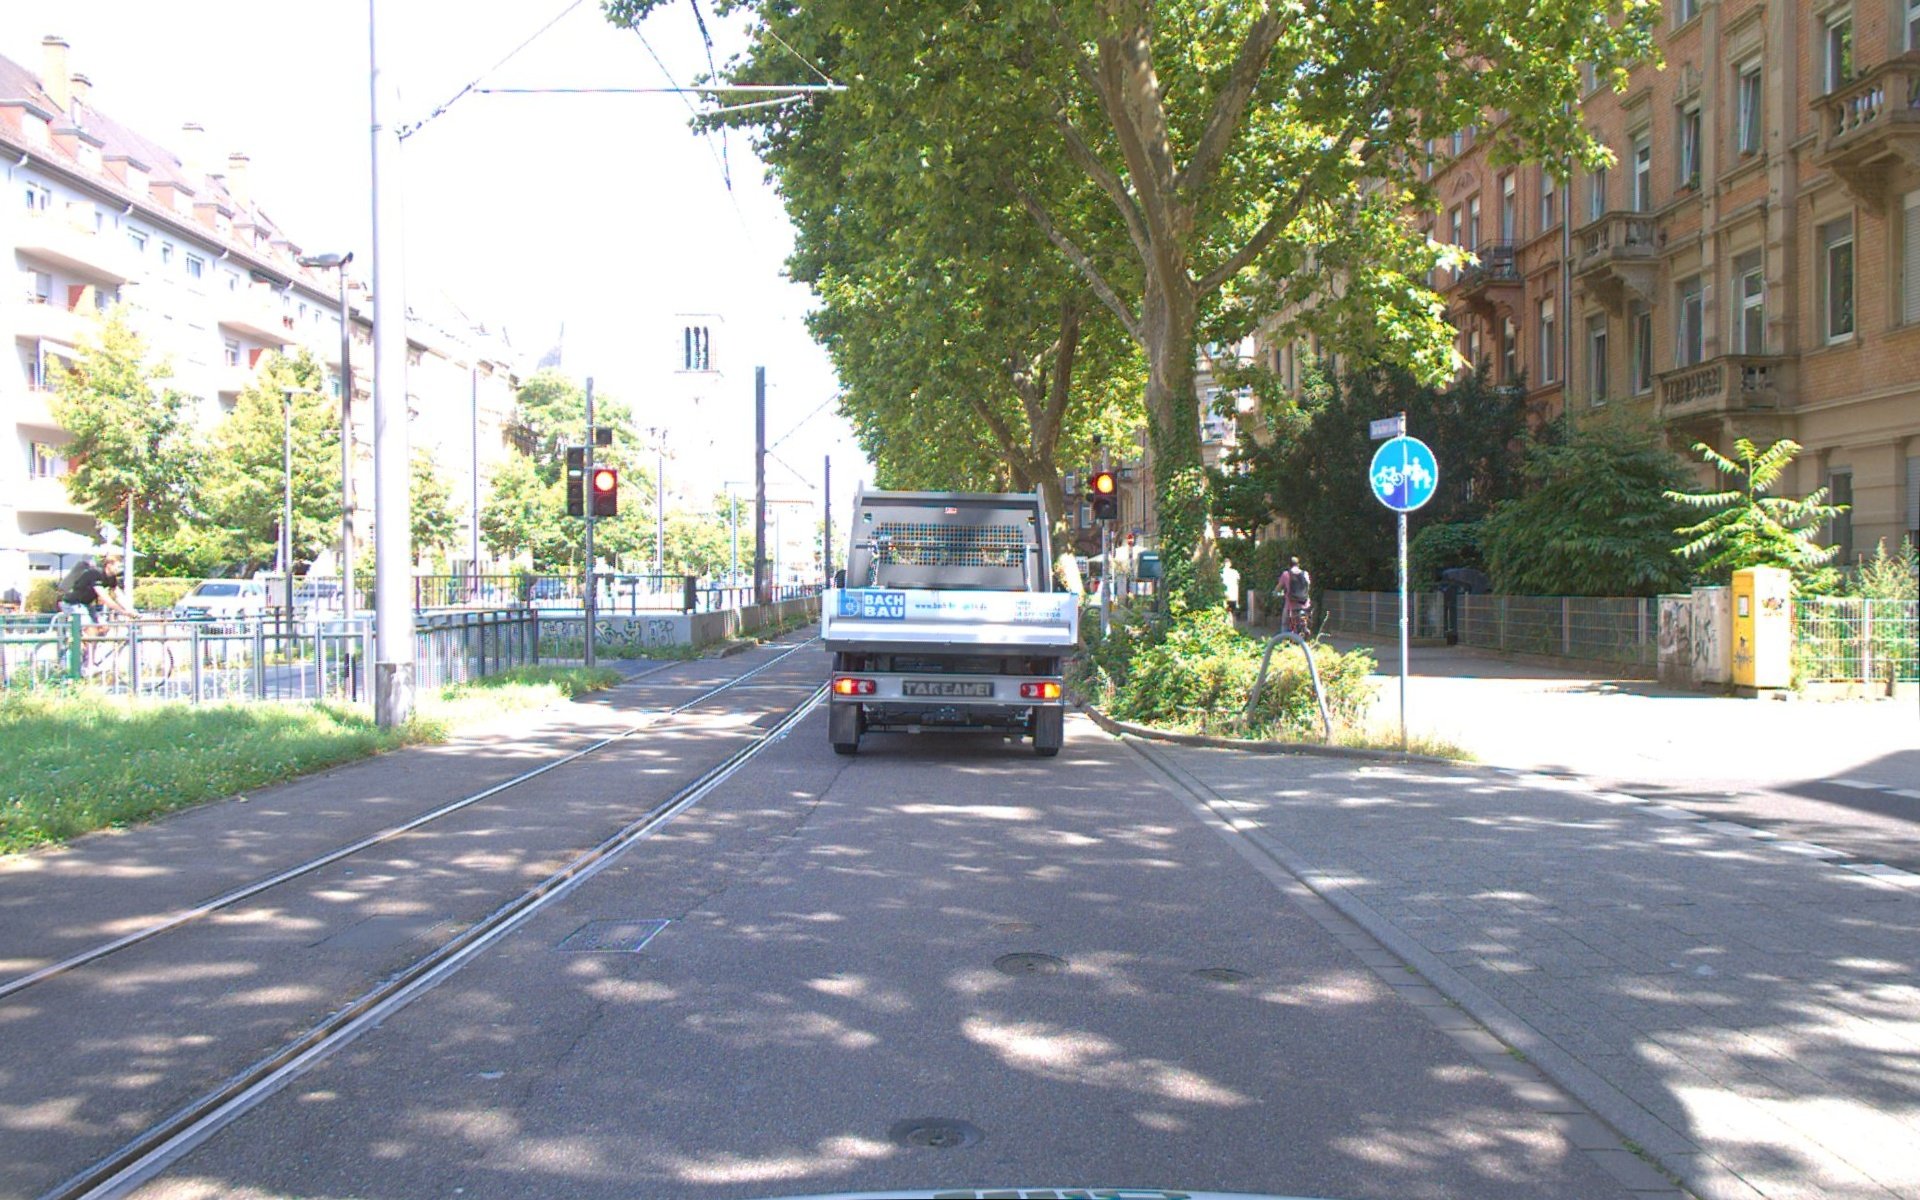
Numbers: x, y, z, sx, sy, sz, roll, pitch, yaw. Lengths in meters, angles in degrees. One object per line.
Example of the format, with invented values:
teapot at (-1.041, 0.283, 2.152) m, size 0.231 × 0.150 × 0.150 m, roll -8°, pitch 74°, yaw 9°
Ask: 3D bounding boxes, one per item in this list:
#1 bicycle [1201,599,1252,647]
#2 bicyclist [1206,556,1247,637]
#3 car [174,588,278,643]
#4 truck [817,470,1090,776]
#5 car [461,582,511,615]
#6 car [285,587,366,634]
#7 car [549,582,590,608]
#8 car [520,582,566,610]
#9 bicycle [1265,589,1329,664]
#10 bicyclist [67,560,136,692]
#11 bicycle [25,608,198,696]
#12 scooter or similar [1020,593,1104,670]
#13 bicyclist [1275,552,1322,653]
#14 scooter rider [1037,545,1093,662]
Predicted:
bicycle at (5.300, 0.438, 32.982) m, size 0.661 × 0.897 × 2.163 m, roll -1°, pitch 1°, yaw 0°
bicyclist at (5.298, -0.075, 32.889) m, size 0.666 × 1.590 × 0.777 m, roll -1°, pitch 0°, yaw 0°
car at (-22.466, 0.444, 50.768) m, size 1.737 × 1.524 × 3.994 m, roll -2°, pitch 1°, yaw -7°
truck at (-0.065, 0.157, 15.238) m, size 2.095 × 2.359 × 4.401 m, roll 1°, pitch 1°, yaw 0°
car at (-23.175, -0.092, 80.973) m, size 1.737 × 1.524 × 3.994 m, roll -1°, pitch 1°, yaw -7°
car at (-22.714, 0.346, 59.343) m, size 1.737 × 1.524 × 3.994 m, roll -2°, pitch 1°, yaw -7°
car at (-24.091, -0.336, 102.154) m, size 1.735 × 1.524 × 3.998 m, roll -1°, pitch 1°, yaw -3°
car at (-23.748, -0.245, 94.325) m, size 1.735 × 1.524 × 3.998 m, roll -1°, pitch 1°, yaw -3°
bicycle at (5.426, 0.403, 26.708) m, size 0.553 × 1.131 × 2.310 m, roll -1°, pitch 1°, yaw 0°
bicyclist at (-10.952, 0.323, 21.114) m, size 0.682 × 1.651 × 0.621 m, roll 0°, pitch 0°, yaw -19°
bicycle at (-10.825, 0.650, 21.158) m, size 1.890 × 1.067 × 0.530 m, roll -1°, pitch 0°, yaw -18°
scooter or similar at (1.690, 0.504, 27.344) m, size 1.256 × 1.225 × 0.649 m, roll -1°, pitch 1°, yaw -35°
bicyclist at (5.443, 0.029, 26.586) m, size 0.625 × 1.601 × 0.579 m, roll -1°, pitch 1°, yaw 0°
scooter rider at (1.732, 0.050, 27.365) m, size 0.661 × 1.899 × 0.656 m, roll -1°, pitch 0°, yaw -35°
